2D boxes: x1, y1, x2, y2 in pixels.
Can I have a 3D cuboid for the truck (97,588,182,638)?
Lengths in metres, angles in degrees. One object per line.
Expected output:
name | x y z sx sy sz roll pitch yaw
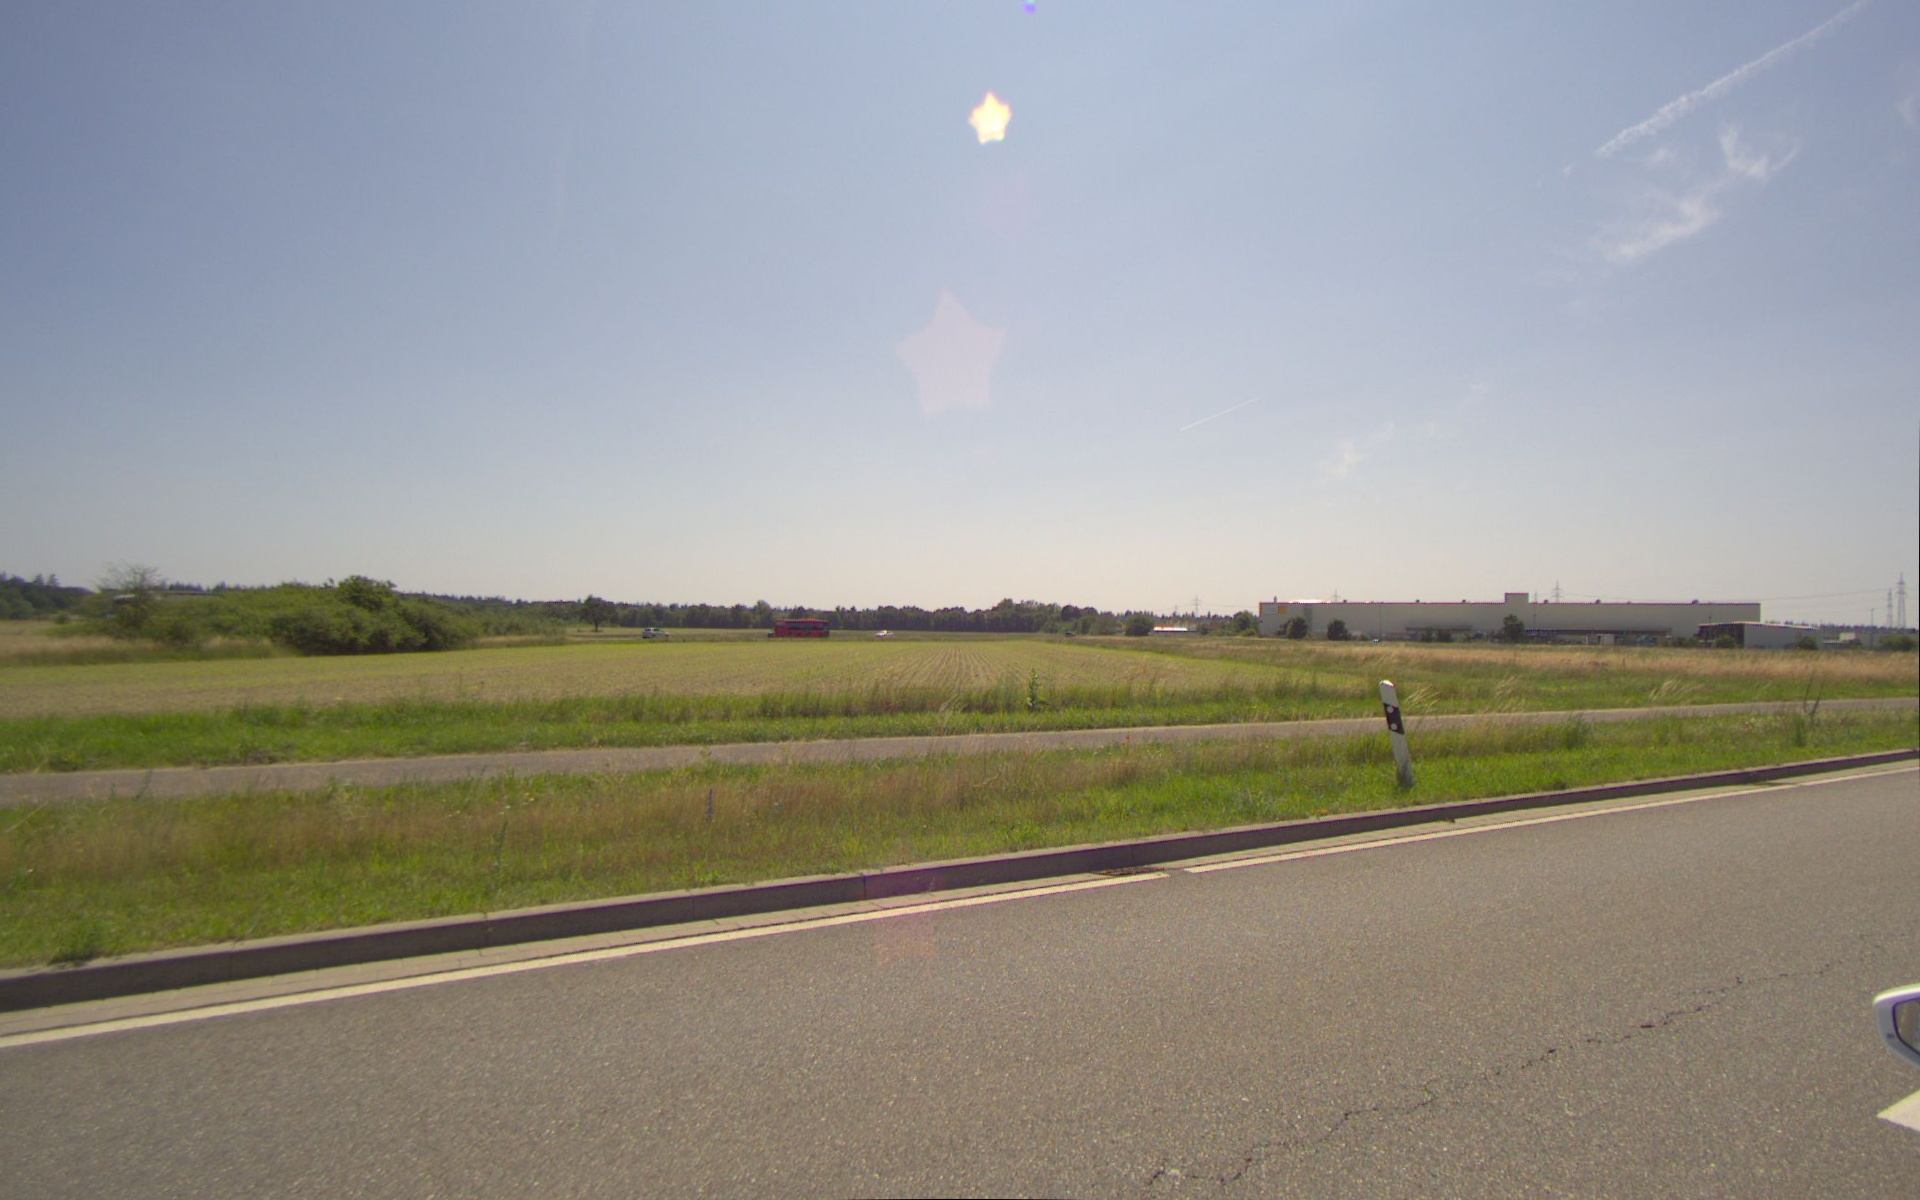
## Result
truck | -67.320 1.089 82.509 2.597 3.986 4.770 0 -2 30

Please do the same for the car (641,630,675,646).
car | -39.605 4.951 131.834 1.963 2.040 4.226 0 -2 26

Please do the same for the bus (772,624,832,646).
bus | -25.318 5.641 161.561 3.252 3.352 11.980 0 -2 26

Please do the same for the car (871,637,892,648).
car | -14.916 8.023 190.646 1.964 1.916 3.994 1 -2 29

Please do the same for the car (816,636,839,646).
car | -23.682 7.365 179.615 1.964 1.795 3.995 -1 -3 28

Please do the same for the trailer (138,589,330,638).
trailer | -63.675 1.335 88.822 2.597 3.985 13.855 0 -2 30
